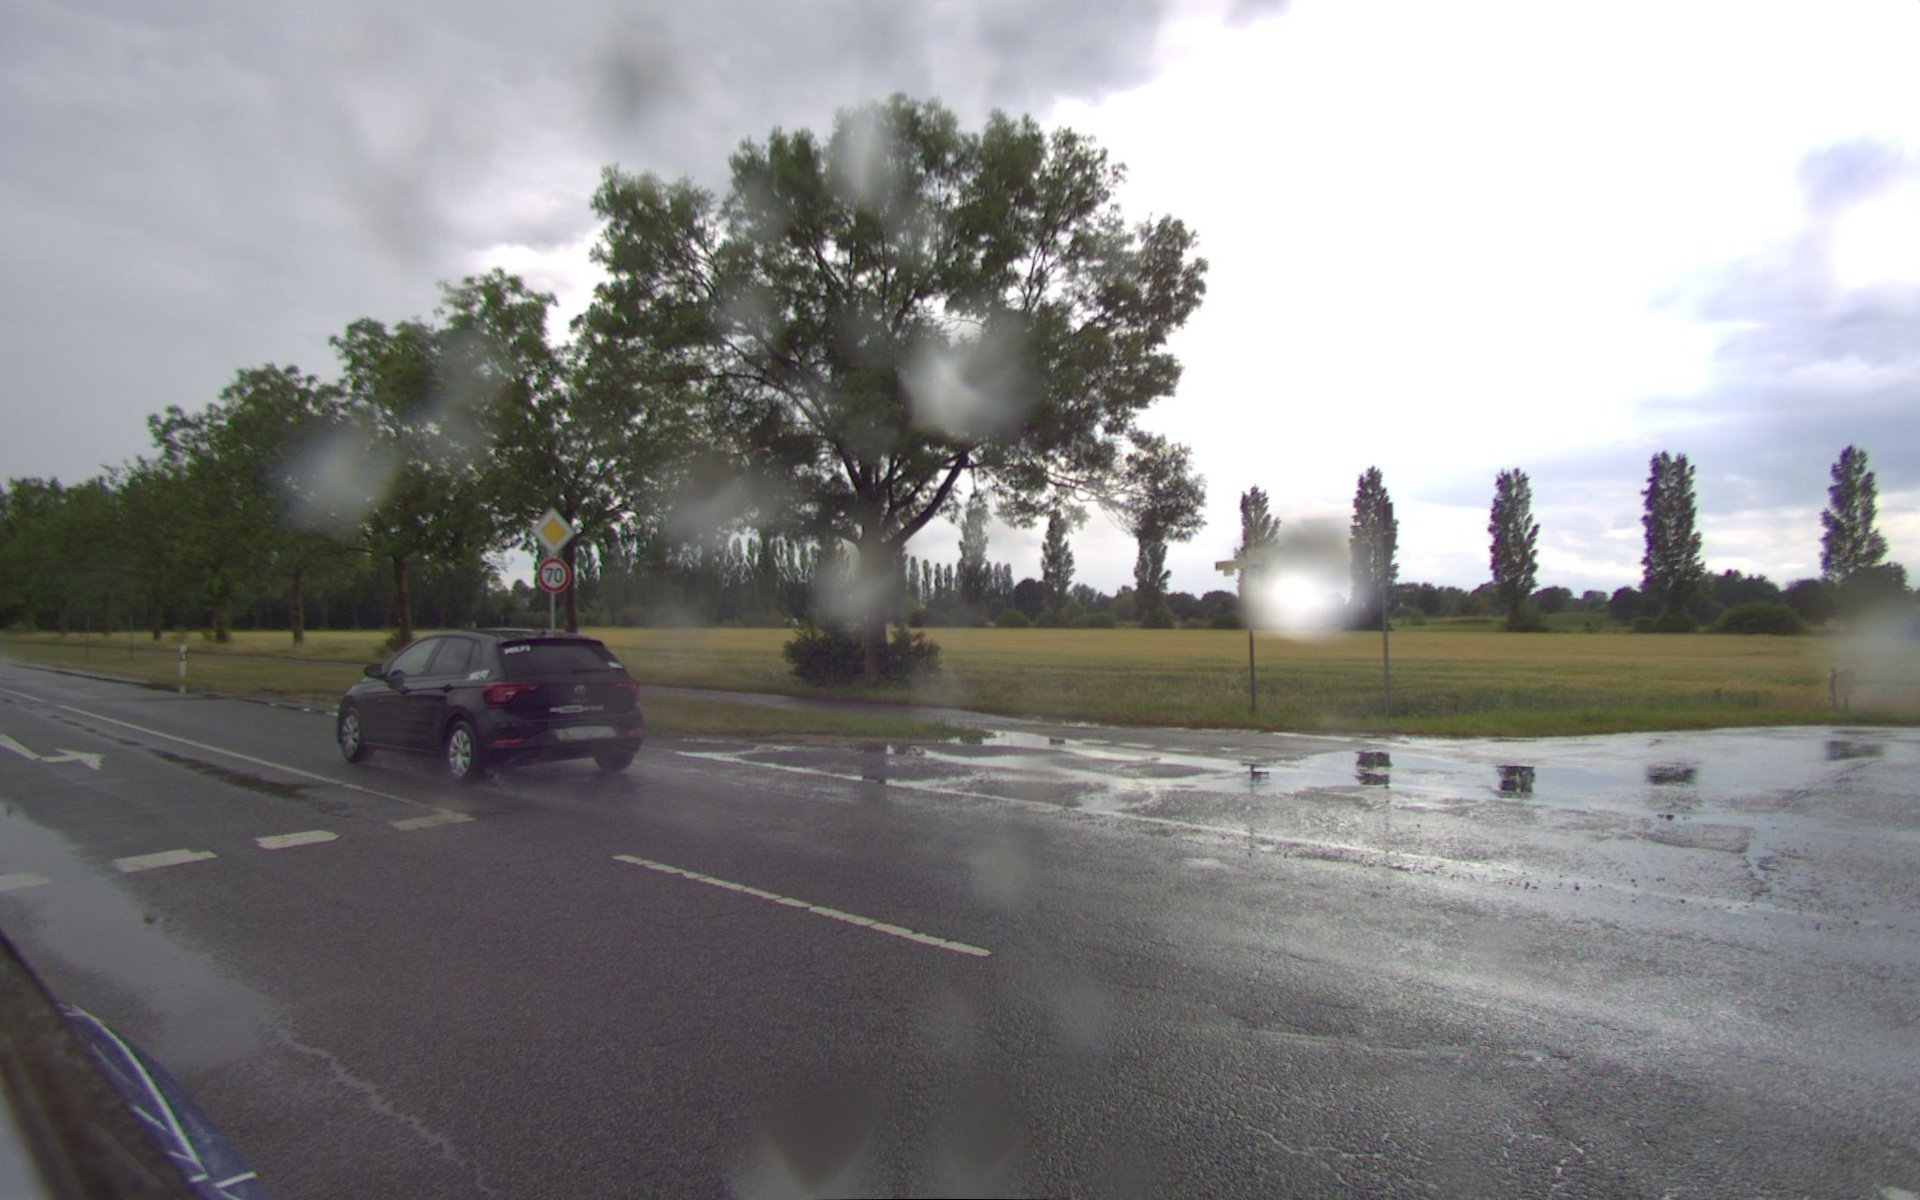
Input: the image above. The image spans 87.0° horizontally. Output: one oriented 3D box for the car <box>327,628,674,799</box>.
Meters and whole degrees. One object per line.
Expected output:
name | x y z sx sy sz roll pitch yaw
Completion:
car | -4.745 1.005 10.254 3.810 1.416 1.695 -1 -3 39
